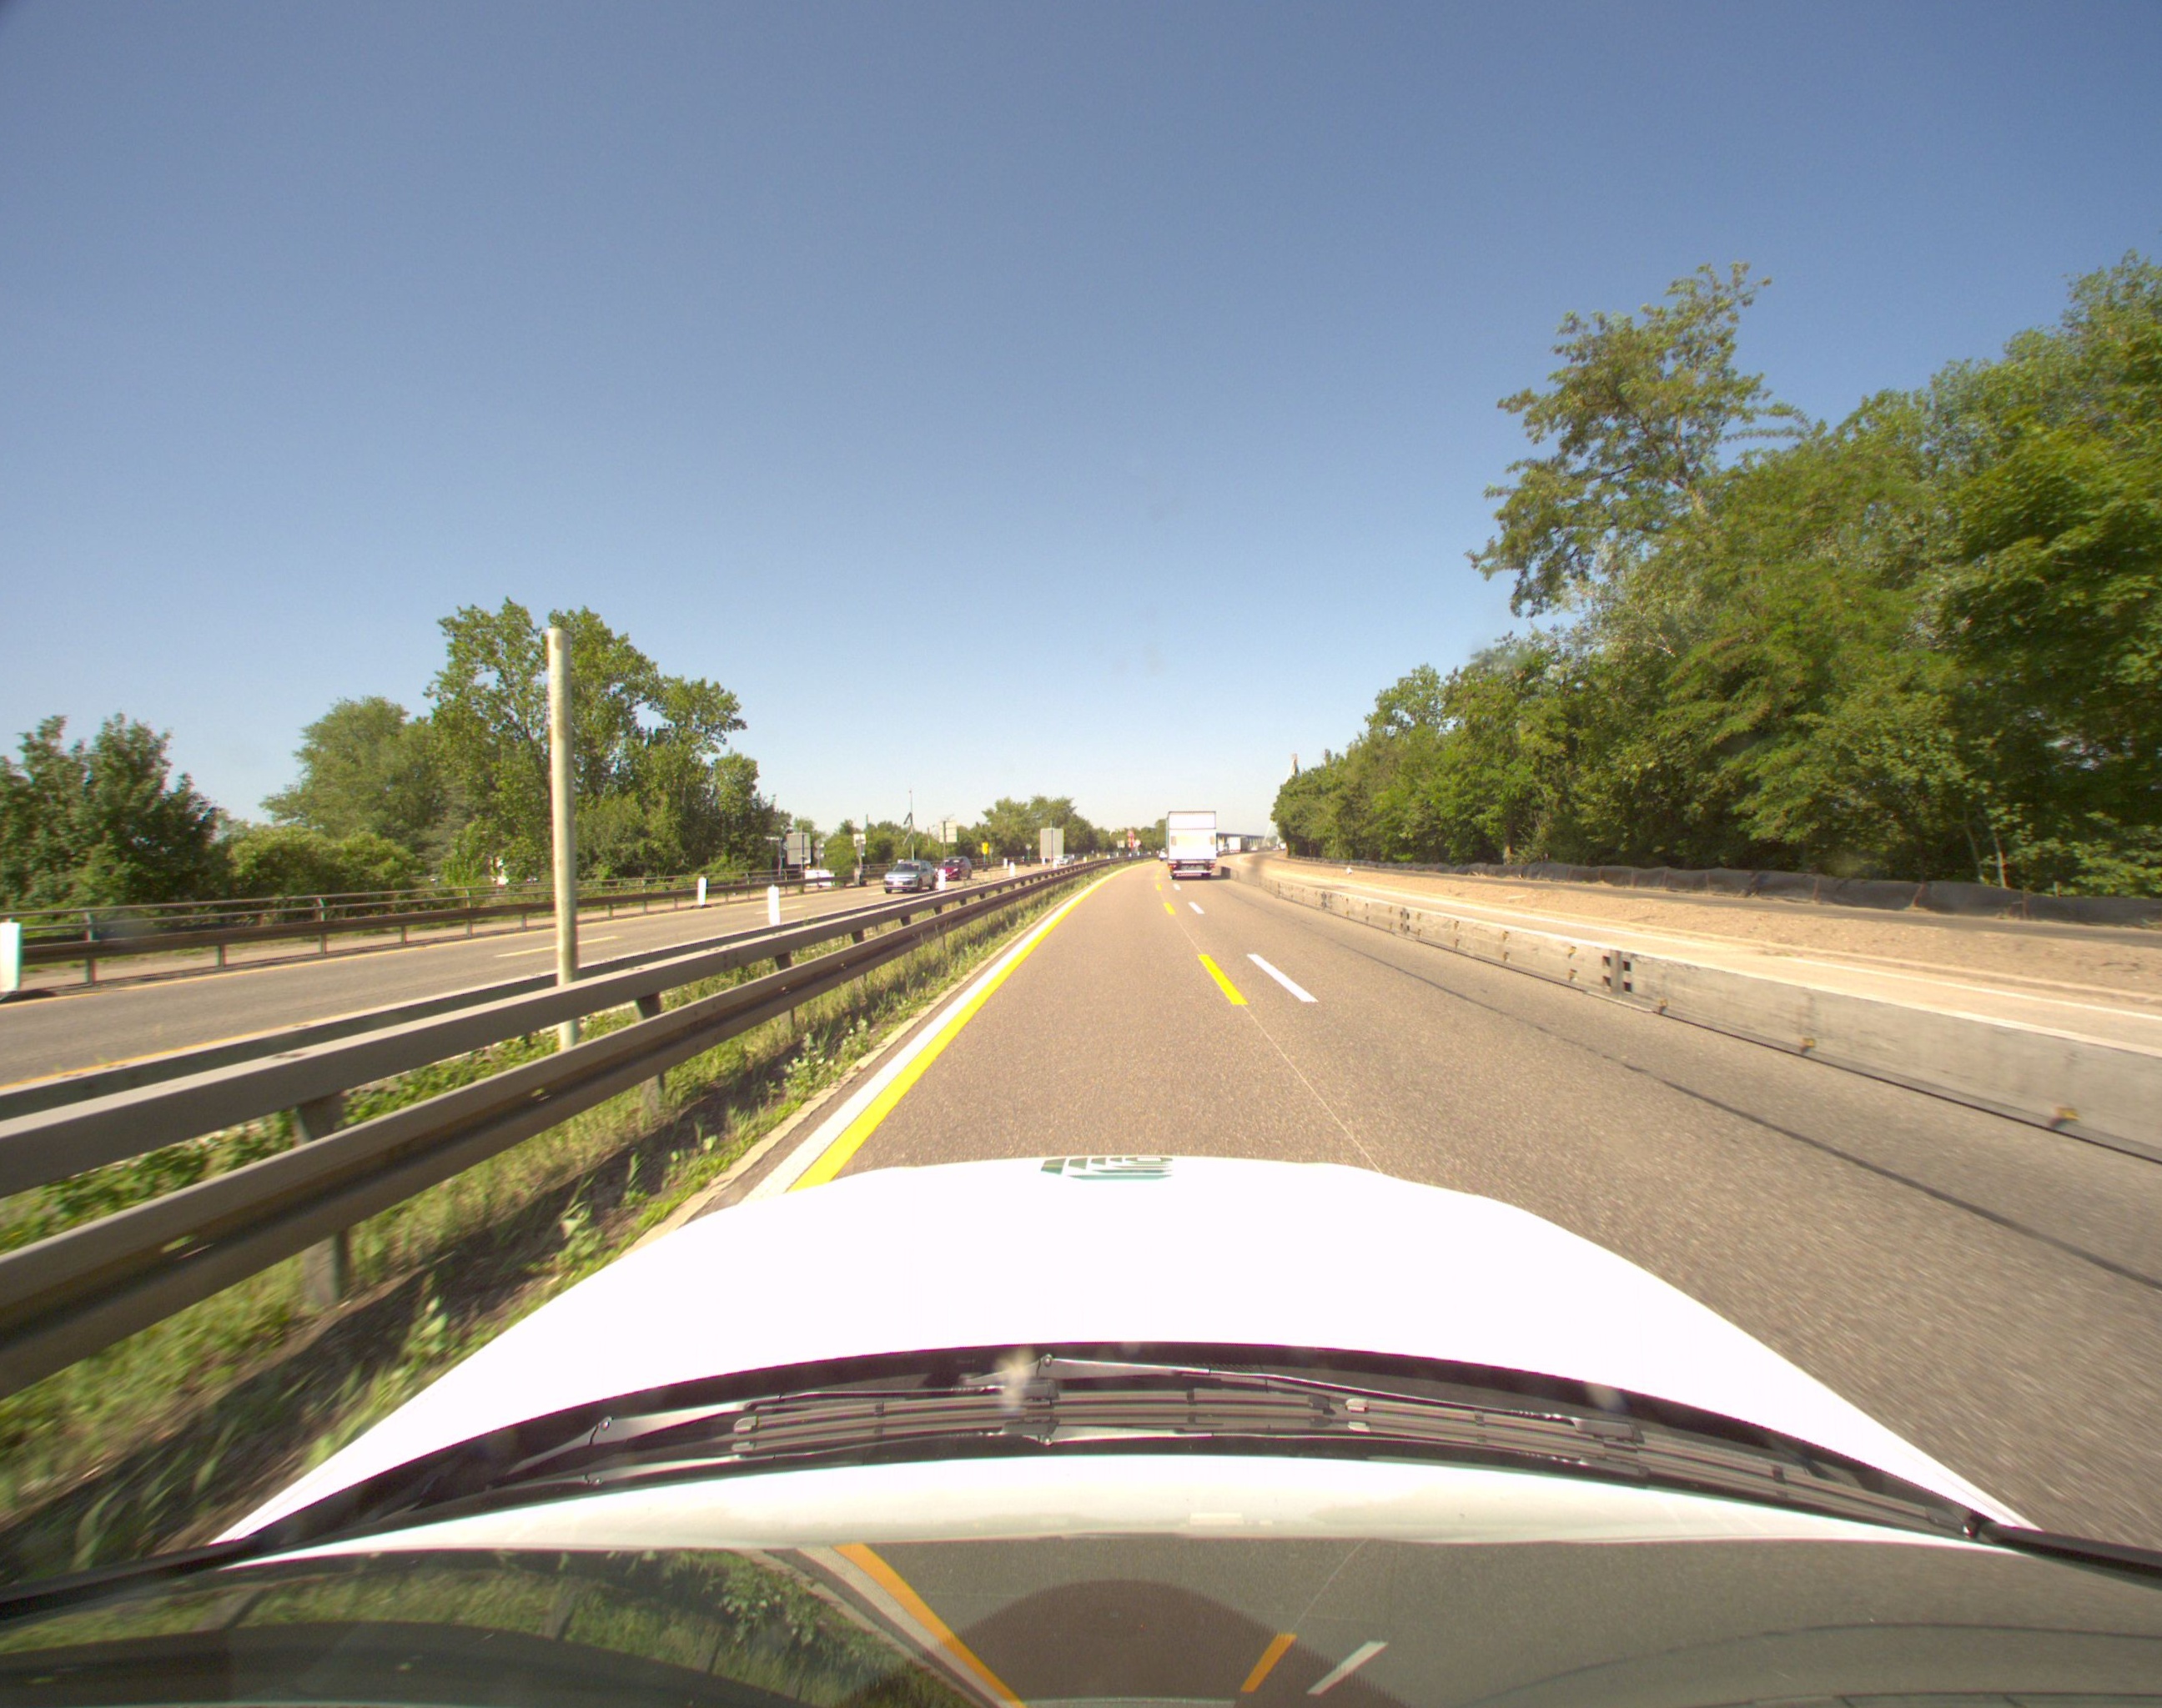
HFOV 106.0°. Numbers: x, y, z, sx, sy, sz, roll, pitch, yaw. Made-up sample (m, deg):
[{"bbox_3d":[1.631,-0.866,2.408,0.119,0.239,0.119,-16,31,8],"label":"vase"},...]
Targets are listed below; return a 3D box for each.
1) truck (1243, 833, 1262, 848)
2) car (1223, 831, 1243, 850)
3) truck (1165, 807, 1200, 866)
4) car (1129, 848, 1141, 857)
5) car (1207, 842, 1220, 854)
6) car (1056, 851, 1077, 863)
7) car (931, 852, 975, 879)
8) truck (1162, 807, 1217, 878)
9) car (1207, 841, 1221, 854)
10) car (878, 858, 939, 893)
[{"bbox_3d":[52.580,-4.278,249.537,4.185,4.266,10.293,-4,0,19],"label":"truck"},{"bbox_3d":[36.914,-3.265,197.542,4.178,4.251,10.701,-4,0,13],"label":"car"},{"bbox_3d":[8.113,-1.374,65.338,2.620,4.468,7.246,0,0,6],"label":"truck"},{"bbox_3d":[9.324,-0.266,139.979,1.729,1.498,4.008,-2,0,7],"label":"car"},{"bbox_3d":[25.743,-1.182,157.919,1.980,2.013,4.015,-4,0,13],"label":"car"},{"bbox_3d":[-1.990,0.406,114.382,1.873,1.420,4.874,-2,0,11],"label":"car"},{"bbox_3d":[-9.435,0.807,60.236,1.900,1.734,5.028,-3,0,6],"label":"car"},{"bbox_3d":[5.704,-0.577,42.775,2.620,3.427,7.249,0,0,8],"label":"truck"},{"bbox_3d":[21.024,-1.036,128.626,1.983,2.013,4.009,-4,0,7],"label":"car"},{"bbox_3d":[-9.096,1.098,43.301,1.900,1.651,4.383,-1,0,6],"label":"car"}]
